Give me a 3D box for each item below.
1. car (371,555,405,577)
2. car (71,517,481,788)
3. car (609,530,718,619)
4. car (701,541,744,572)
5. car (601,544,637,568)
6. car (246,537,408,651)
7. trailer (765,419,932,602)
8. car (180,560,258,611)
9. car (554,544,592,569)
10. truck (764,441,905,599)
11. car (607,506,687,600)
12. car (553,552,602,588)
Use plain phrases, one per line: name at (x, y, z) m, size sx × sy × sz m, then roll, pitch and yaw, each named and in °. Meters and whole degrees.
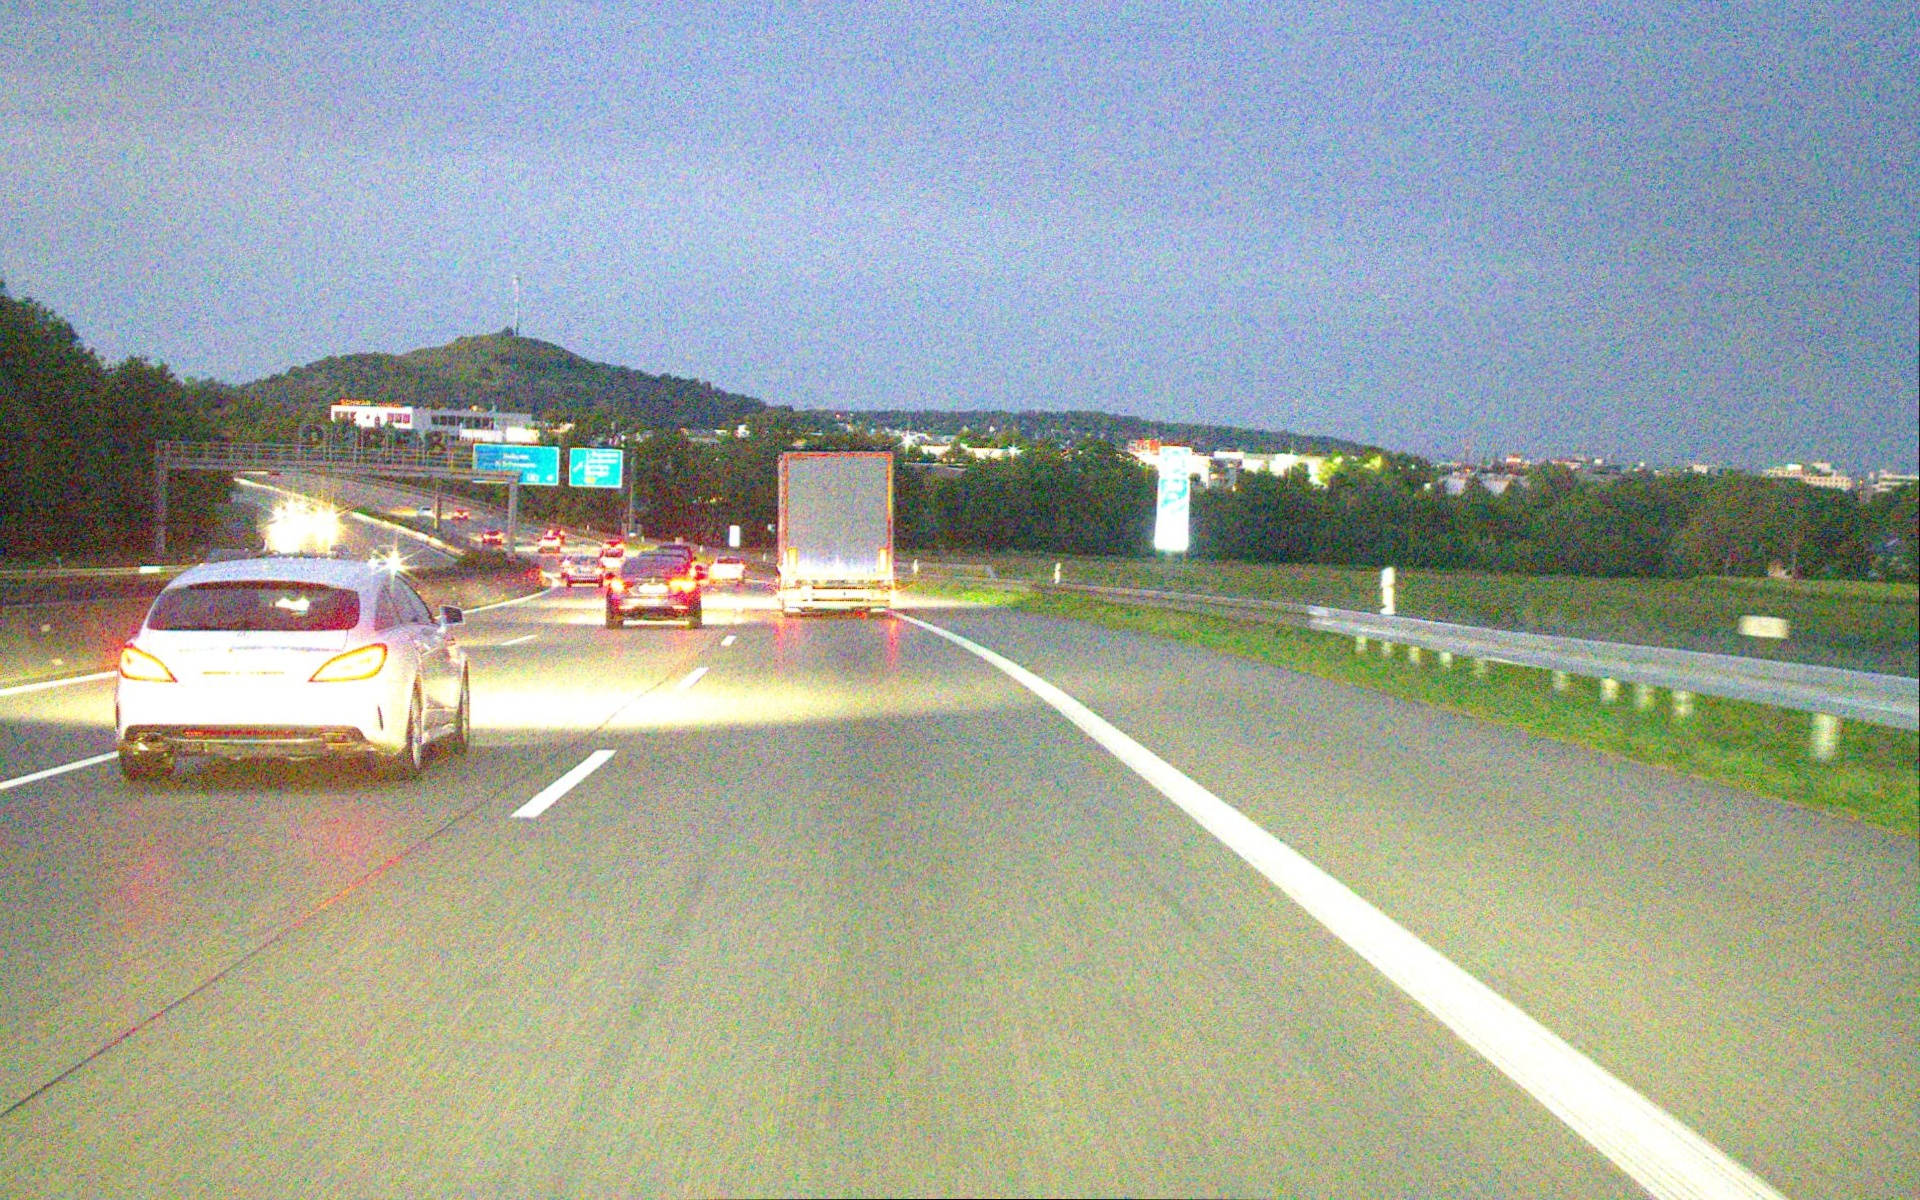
car at (-36.244, -2.147, 217.974) m, size 1.834 × 1.331 × 4.910 m, roll 1°, pitch 1°, yaw -6°
car at (-4.456, 0.293, 23.124) m, size 1.906 × 1.609 × 4.804 m, roll 1°, pitch 1°, yaw -2°
car at (-5.860, -0.505, 68.166) m, size 2.065 × 1.680 × 4.577 m, roll 1°, pitch 1°, yaw -4°
car at (-12.181, -2.237, 176.222) m, size 1.993 × 1.529 × 4.001 m, roll 1°, pitch 1°, yaw -6°
car at (-23.724, -3.078, 239.267) m, size 1.993 × 1.616 × 4.001 m, roll 1°, pitch 1°, yaw -13°
car at (-9.246, -0.110, 50.494) m, size 1.761 × 1.569 × 4.577 m, roll 1°, pitch 1°, yaw -3°
trailer at (-2.945, -2.055, 85.229) m, size 3.549 × 4.102 × 15.065 m, roll 1°, pitch 0°, yaw -4°
car at (-26.460, -0.531, 122.872) m, size 1.993 × 1.785 × 4.841 m, roll 1°, pitch 1°, yaw -3°
car at (-23.451, -2.618, 208.070) m, size 1.993 × 1.463 × 4.001 m, roll 1°, pitch 1°, yaw -11°
truck at (-3.452, -2.100, 92.832) m, size 3.550 × 4.077 × 6.152 m, roll 1°, pitch 0°, yaw -4°
car at (-8.200, -1.218, 89.765) m, size 1.993 × 2.372 × 4.001 m, roll 1°, pitch 0°, yaw -6°
car at (-17.583, -1.376, 157.859) m, size 1.993 × 1.616 × 4.001 m, roll 1°, pitch 1°, yaw -9°
